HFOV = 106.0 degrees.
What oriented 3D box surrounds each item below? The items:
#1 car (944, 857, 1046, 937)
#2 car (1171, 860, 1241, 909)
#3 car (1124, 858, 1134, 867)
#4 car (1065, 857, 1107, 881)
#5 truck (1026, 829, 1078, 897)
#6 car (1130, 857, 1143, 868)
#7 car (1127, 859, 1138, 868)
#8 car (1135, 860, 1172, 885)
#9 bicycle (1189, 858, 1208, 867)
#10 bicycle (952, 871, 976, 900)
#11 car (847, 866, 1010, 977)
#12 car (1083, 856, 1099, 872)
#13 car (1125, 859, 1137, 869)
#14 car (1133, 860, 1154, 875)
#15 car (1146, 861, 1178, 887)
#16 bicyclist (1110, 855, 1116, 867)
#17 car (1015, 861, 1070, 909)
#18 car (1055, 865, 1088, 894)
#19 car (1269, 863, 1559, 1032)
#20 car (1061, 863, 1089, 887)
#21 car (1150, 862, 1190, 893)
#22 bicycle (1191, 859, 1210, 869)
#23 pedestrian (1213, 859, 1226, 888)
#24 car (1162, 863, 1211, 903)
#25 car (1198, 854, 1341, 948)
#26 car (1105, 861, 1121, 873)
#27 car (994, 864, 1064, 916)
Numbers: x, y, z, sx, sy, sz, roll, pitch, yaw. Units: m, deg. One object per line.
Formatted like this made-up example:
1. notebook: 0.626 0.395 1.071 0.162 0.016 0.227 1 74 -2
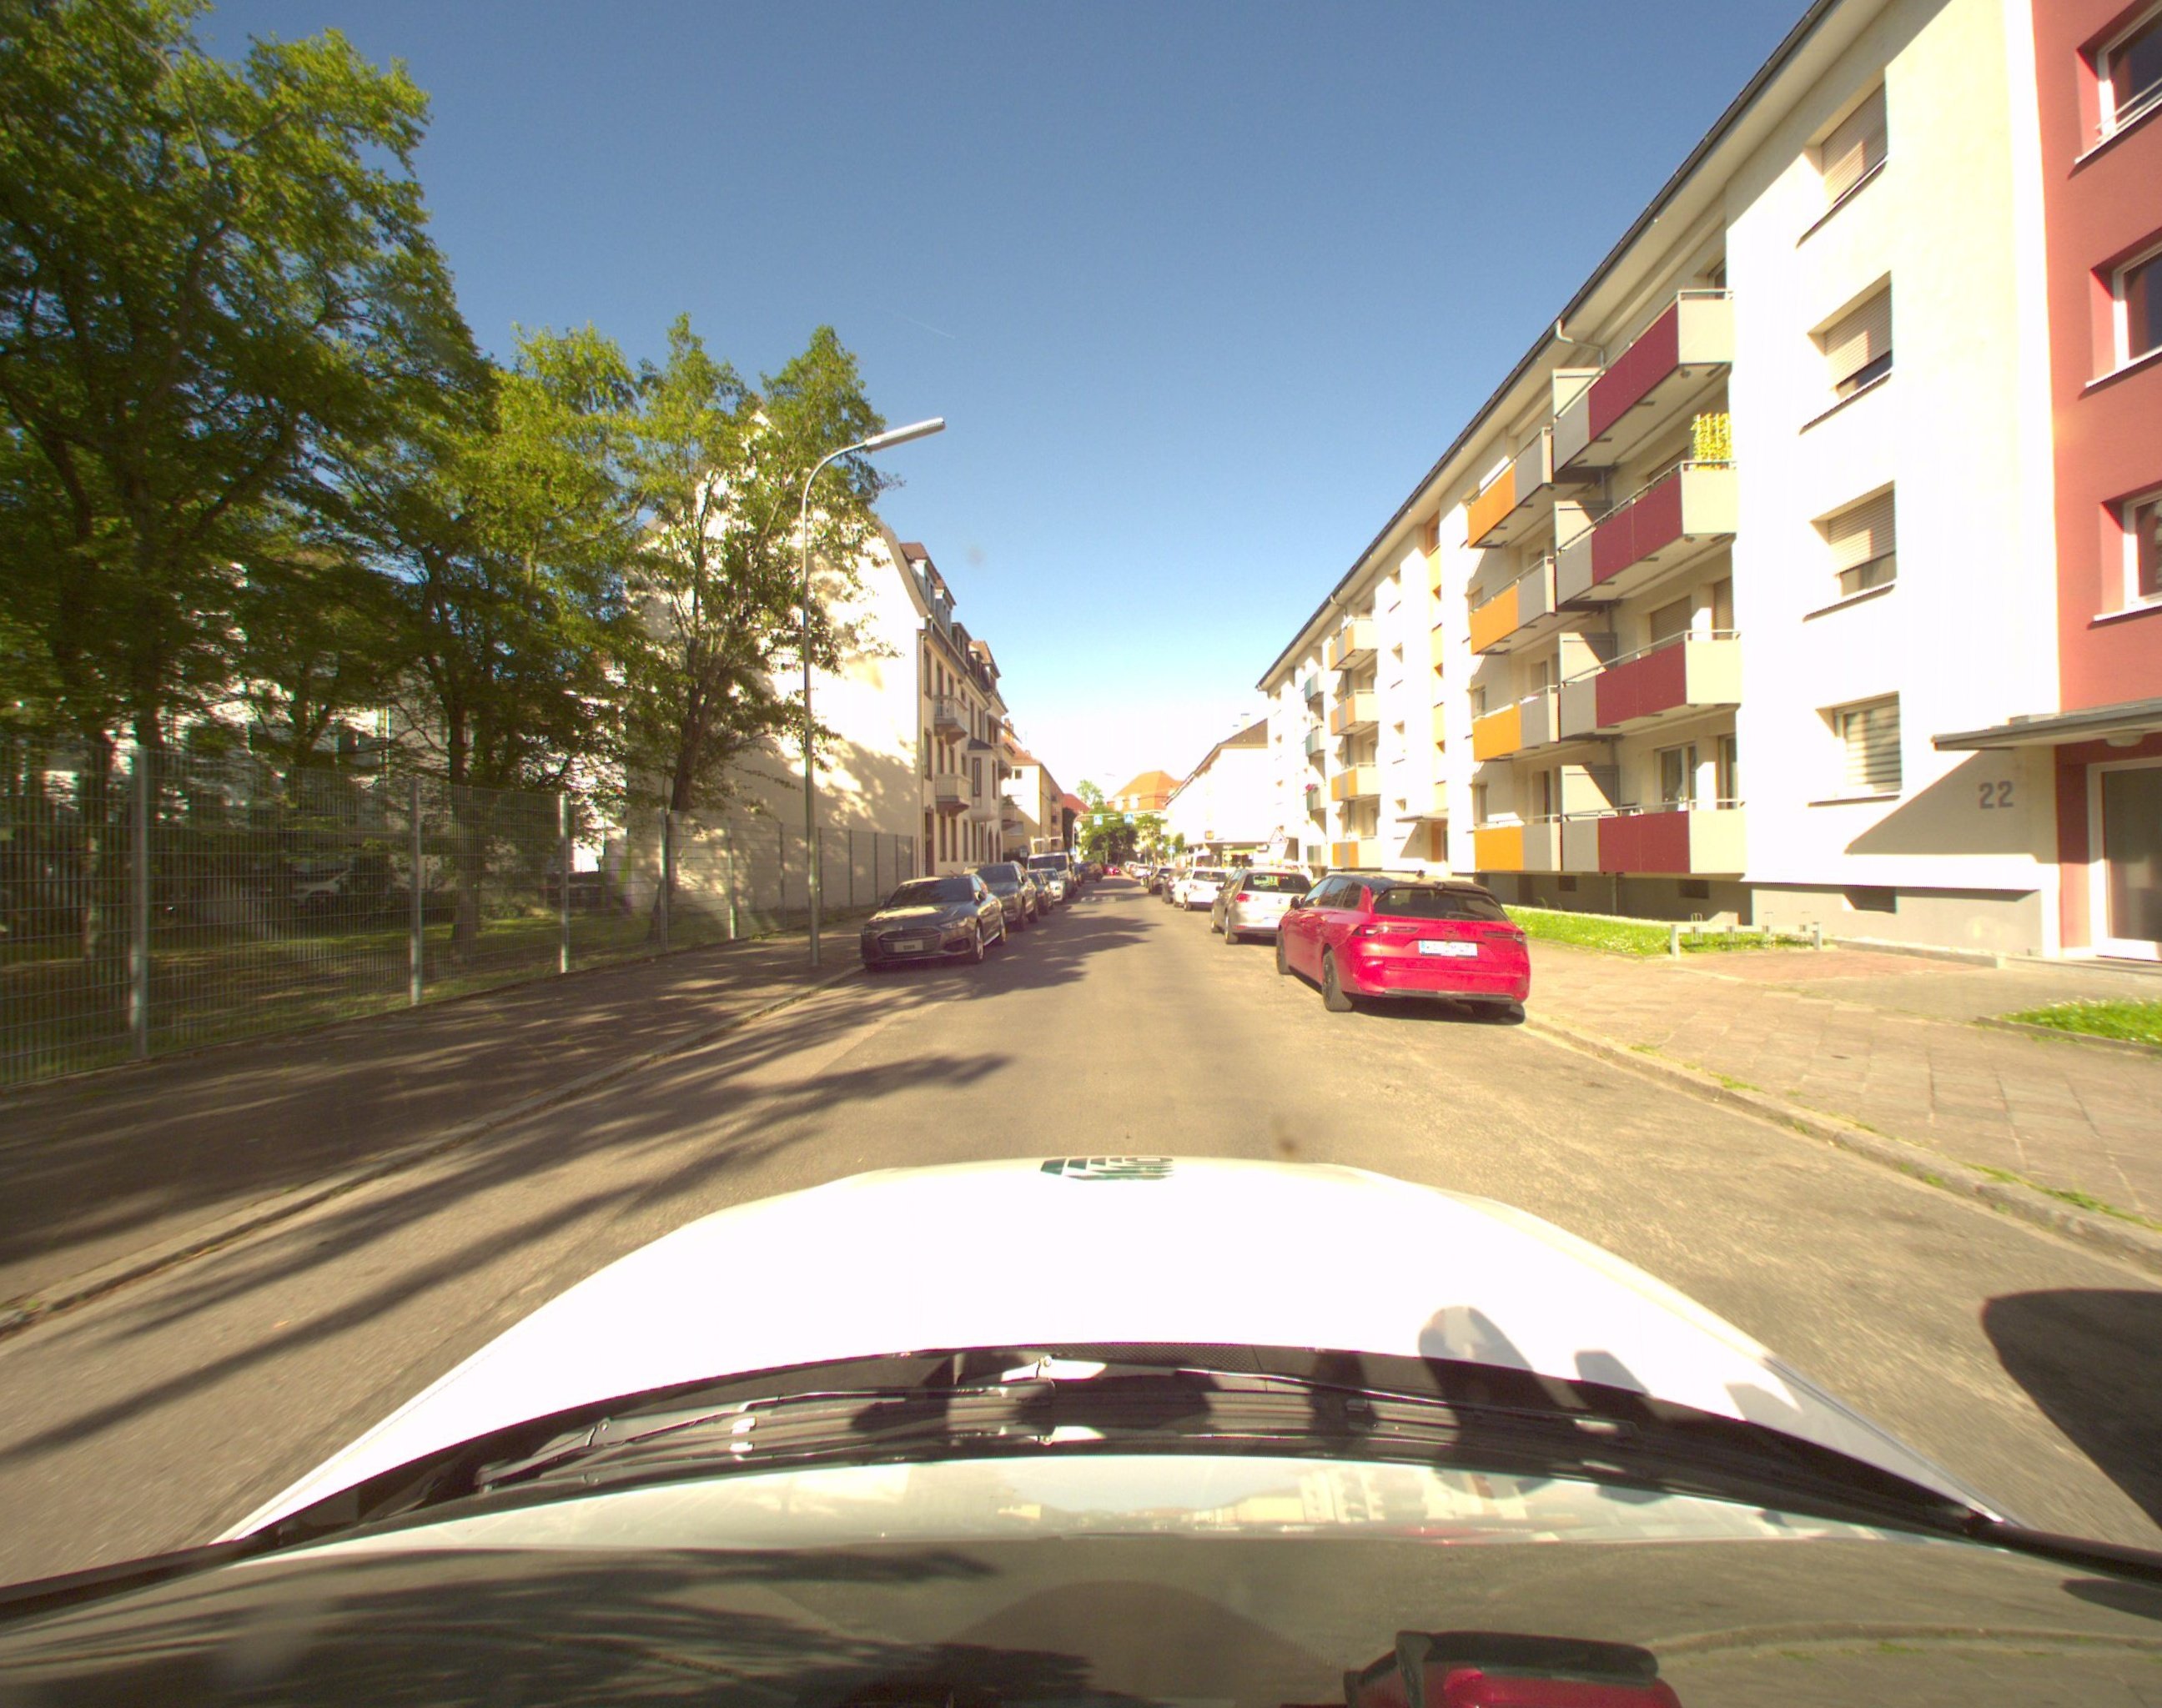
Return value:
1. car: -2.009 0.974 20.508 1.872 1.664 4.932 -4 -1 1
2. car: 4.227 1.004 28.075 1.681 1.463 3.818 4 -1 -1
3. car: 8.595 1.517 147.029 1.632 1.441 3.420 -2 0 1
4. car: 0.402 1.126 62.782 1.806 1.633 4.278 -2 0 21
5. truck: -1.318 0.461 40.032 2.252 2.986 7.273 -2 -1 0
6. car: 7.598 1.175 112.501 1.632 1.441 3.420 -2 0 1
7. car: 8.083 1.454 127.820 1.632 1.441 3.420 -2 0 1
8. car: 4.720 1.225 53.584 1.849 1.523 4.772 -1 -1 -2
9. bicycle: 12.301 0.884 85.080 1.805 0.967 0.672 -1 -1 -9
10. bicycle: -5.301 1.420 36.977 0.627 1.204 2.342 -2 0 2
11. car: -2.396 1.002 13.996 1.788 1.471 4.502 -4 -1 1
12. car: 1.206 1.153 97.513 1.691 1.779 4.101 -2 0 3
13. car: 7.517 1.505 123.197 1.632 1.441 3.420 -2 0 1
14. car: 6.154 1.329 80.882 1.839 1.441 3.419 -2 0 1
15. car: 4.775 1.204 48.473 1.639 1.460 3.940 -1 -1 1
16. bicyclist: 4.604 1.000 117.128 0.782 1.621 0.958 -3 -1 6
17. car: -1.470 1.188 32.861 1.786 1.540 4.641 -7 0 0
18. car: -0.523 1.420 46.595 1.640 1.416 4.080 -6 -1 0
19. car: 3.440 0.850 9.428 1.744 1.444 4.527 -2 -1 4
20. car: -0.405 1.435 56.571 1.698 1.416 4.373 -6 -1 0
21. car: 4.593 1.179 42.479 1.785 1.471 4.342 2 -1 3
22. bicycle: 12.396 1.036 84.446 1.805 0.967 0.672 -1 -1 -9
23. pedestrian: 7.127 1.004 41.888 0.572 1.433 0.472 -3 0 4
24. car: 4.179 1.123 32.753 1.681 1.467 3.585 1 0 3
25. car: 3.637 0.848 16.556 1.892 1.622 4.602 1 -1 1
26. car: 3.898 1.555 98.892 1.690 1.441 3.422 -2 0 4
27. car: -1.609 1.113 26.863 1.785 1.563 4.462 -1 -1 3
